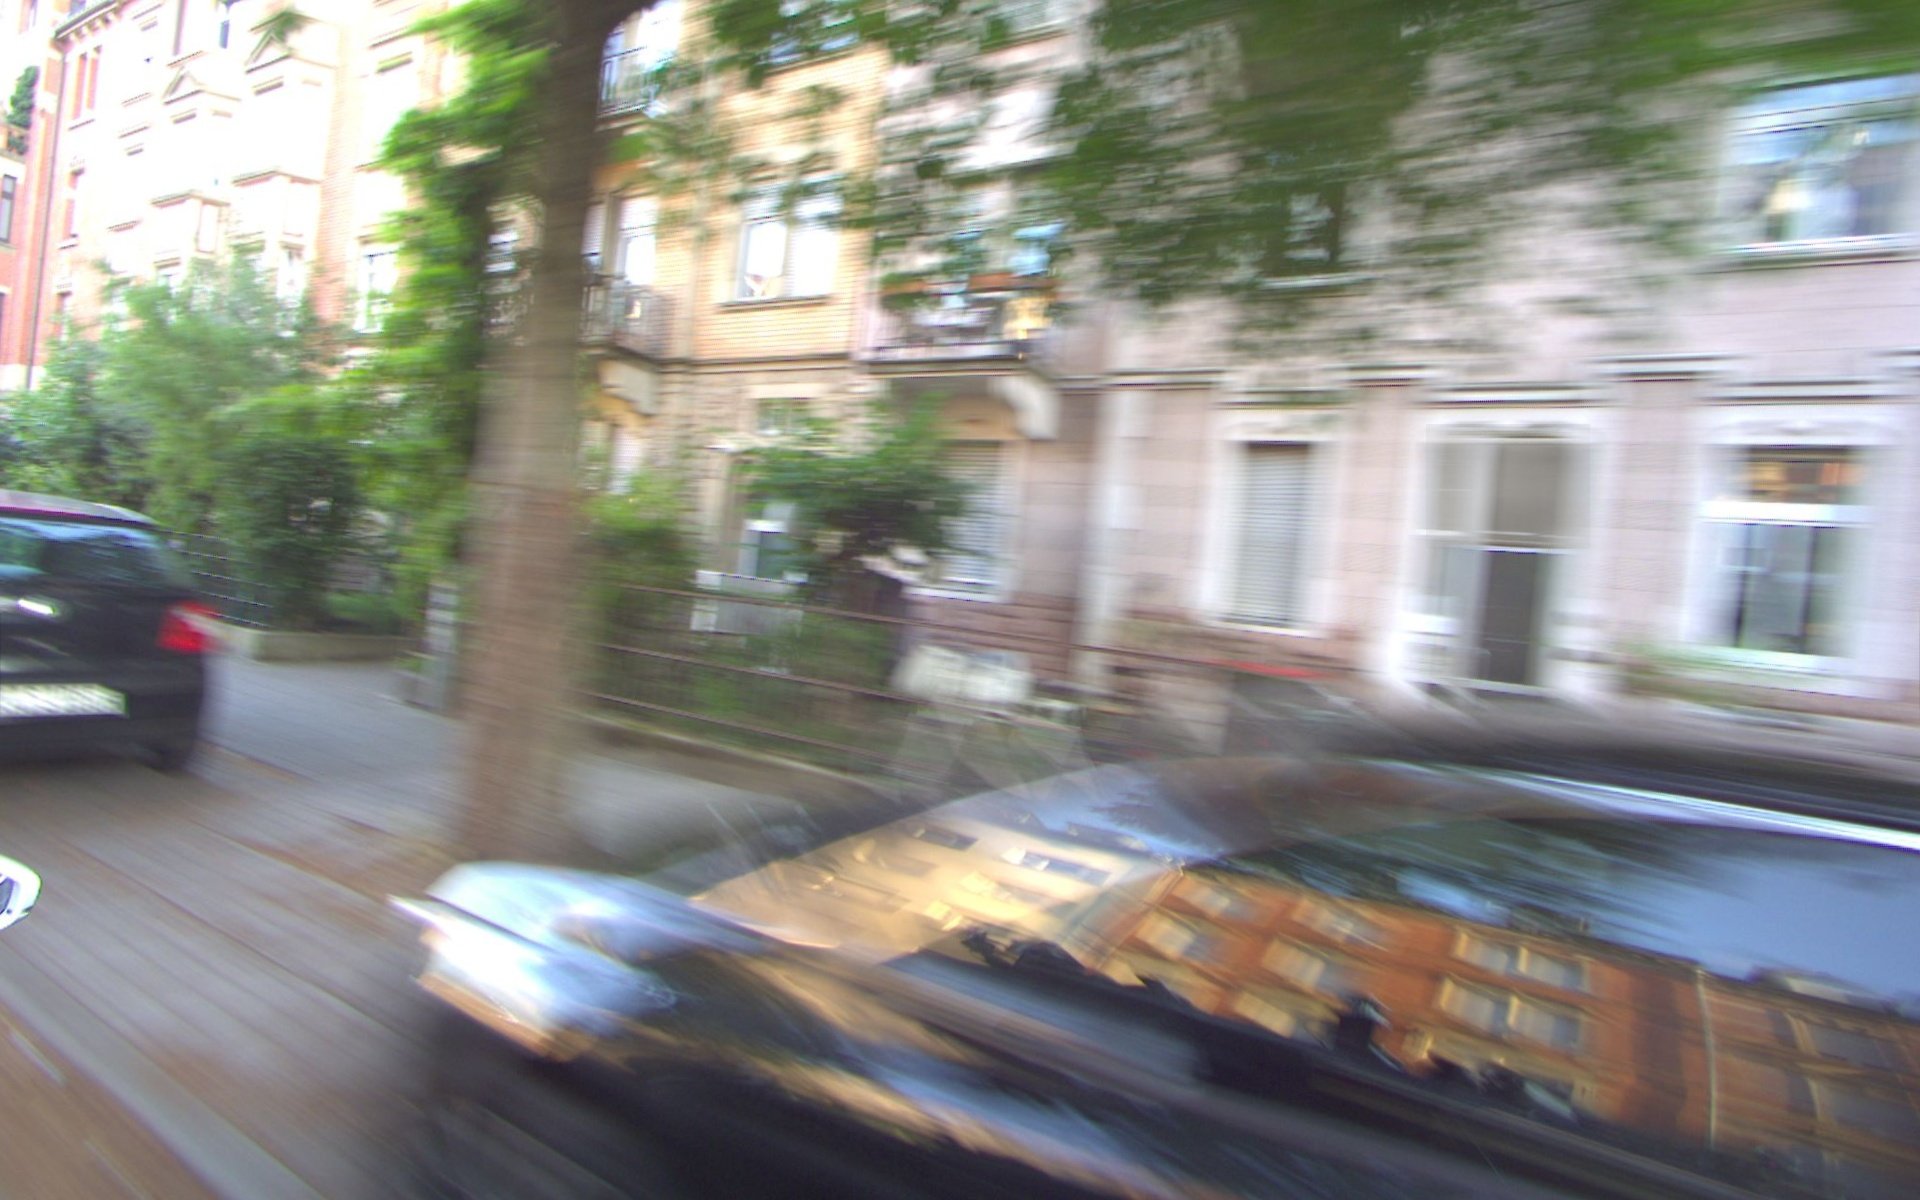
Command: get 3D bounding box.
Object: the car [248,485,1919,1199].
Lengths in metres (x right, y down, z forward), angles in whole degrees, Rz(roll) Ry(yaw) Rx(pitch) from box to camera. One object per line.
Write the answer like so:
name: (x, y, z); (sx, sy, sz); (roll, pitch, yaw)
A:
car: (0.773, 0.709, 1.716); (4.139, 1.460, 1.688); (6, 1, 31)

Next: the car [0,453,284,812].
car: (-5.825, 0.012, 5.815); (3.876, 1.625, 1.688); (6, -1, 33)

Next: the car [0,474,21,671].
car: (-9.215, -0.353, 7.921); (3.876, 1.625, 1.688); (6, -1, 33)
